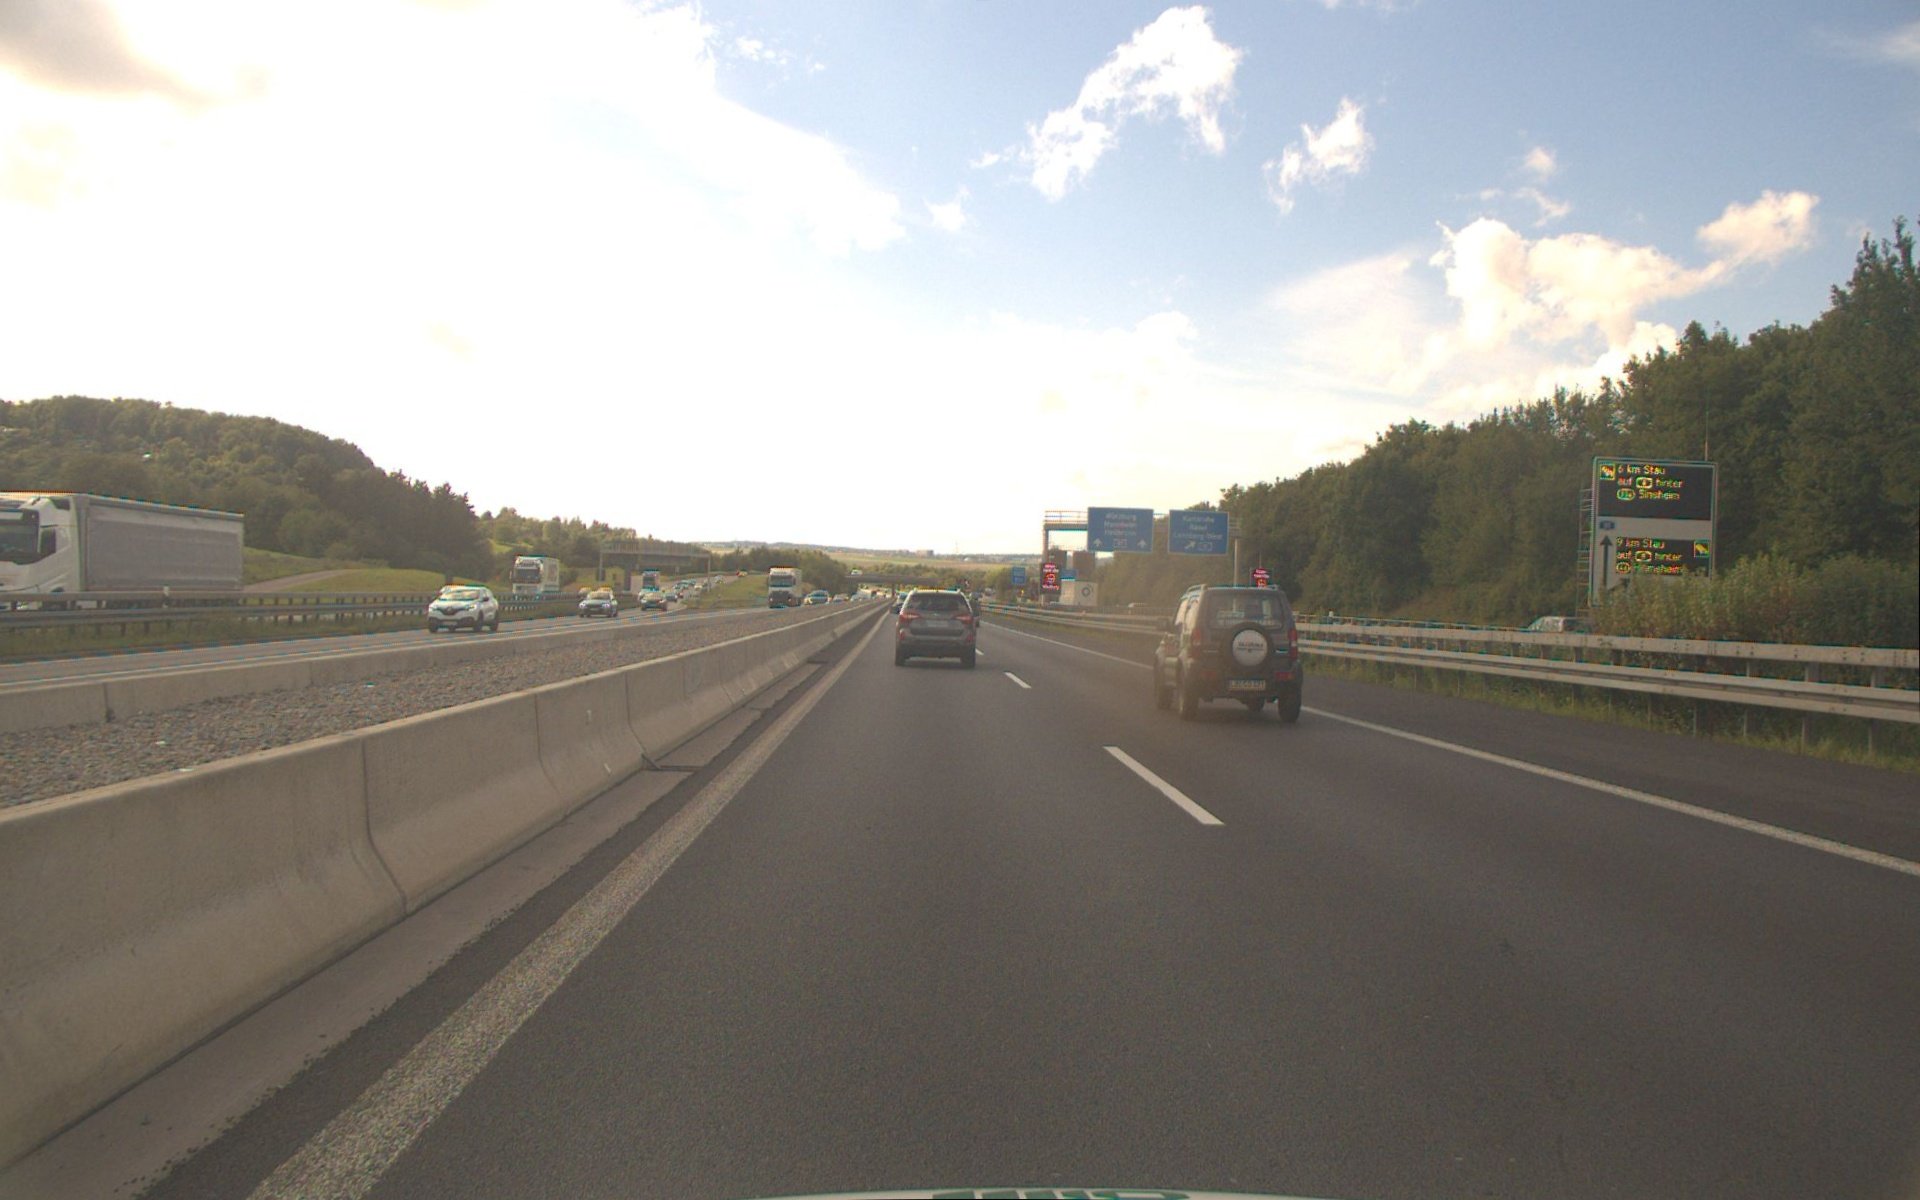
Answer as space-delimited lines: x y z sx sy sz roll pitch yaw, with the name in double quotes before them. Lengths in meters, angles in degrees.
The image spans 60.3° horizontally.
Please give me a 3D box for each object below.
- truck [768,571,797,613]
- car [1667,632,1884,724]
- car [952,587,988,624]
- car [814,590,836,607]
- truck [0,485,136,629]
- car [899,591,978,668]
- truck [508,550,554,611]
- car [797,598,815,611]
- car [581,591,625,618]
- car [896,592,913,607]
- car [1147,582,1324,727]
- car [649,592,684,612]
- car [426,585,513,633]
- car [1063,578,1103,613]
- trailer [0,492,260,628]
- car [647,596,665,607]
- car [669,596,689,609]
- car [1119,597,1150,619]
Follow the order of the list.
"truck" -18.017 -0.796 167.864 2.438 4.201 5.296 1 0 -2
"car" 15.382 1.425 31.448 1.954 1.510 3.997 2 0 -3
"car" 0.604 0.331 98.922 1.953 2.117 3.998 1 0 -2
"car" -12.614 -0.099 155.124 1.810 1.521 4.970 1 0 -2
"truck" -28.473 -1.250 50.972 3.088 4.137 6.284 1 0 -2
"car" -0.499 0.652 38.050 1.714 1.659 3.608 1 0 -1
"truck" -37.932 -1.715 146.424 2.968 5.232 6.619 1 0 -7
"car" -19.938 0.543 214.221 1.953 1.646 5.000 1 0 -2
"car" -20.781 0.255 96.462 1.612 1.521 4.994 1 0 -2
"car" -7.484 -0.053 223.276 2.125 1.876 3.999 1 0 -1
"car" 3.691 0.690 22.819 1.632 1.763 4.206 2 0 -1
"car" -22.801 0.159 128.643 1.903 1.521 5.304 1 0 -2
"car" -17.771 0.331 60.143 1.761 1.659 4.752 1 0 -1
"car" 13.370 -0.480 180.867 3.504 3.741 7.545 1 0 -2
"trailer" -28.742 -1.216 58.004 3.088 4.165 13.380 1 0 -2
"car" -43.141 0.270 234.607 1.903 1.521 4.126 1 0 -2
"car" -34.870 0.285 205.274 1.903 1.521 4.126 1 0 -2
"car" 14.197 0.657 134.492 1.953 1.747 3.998 1 0 -2
